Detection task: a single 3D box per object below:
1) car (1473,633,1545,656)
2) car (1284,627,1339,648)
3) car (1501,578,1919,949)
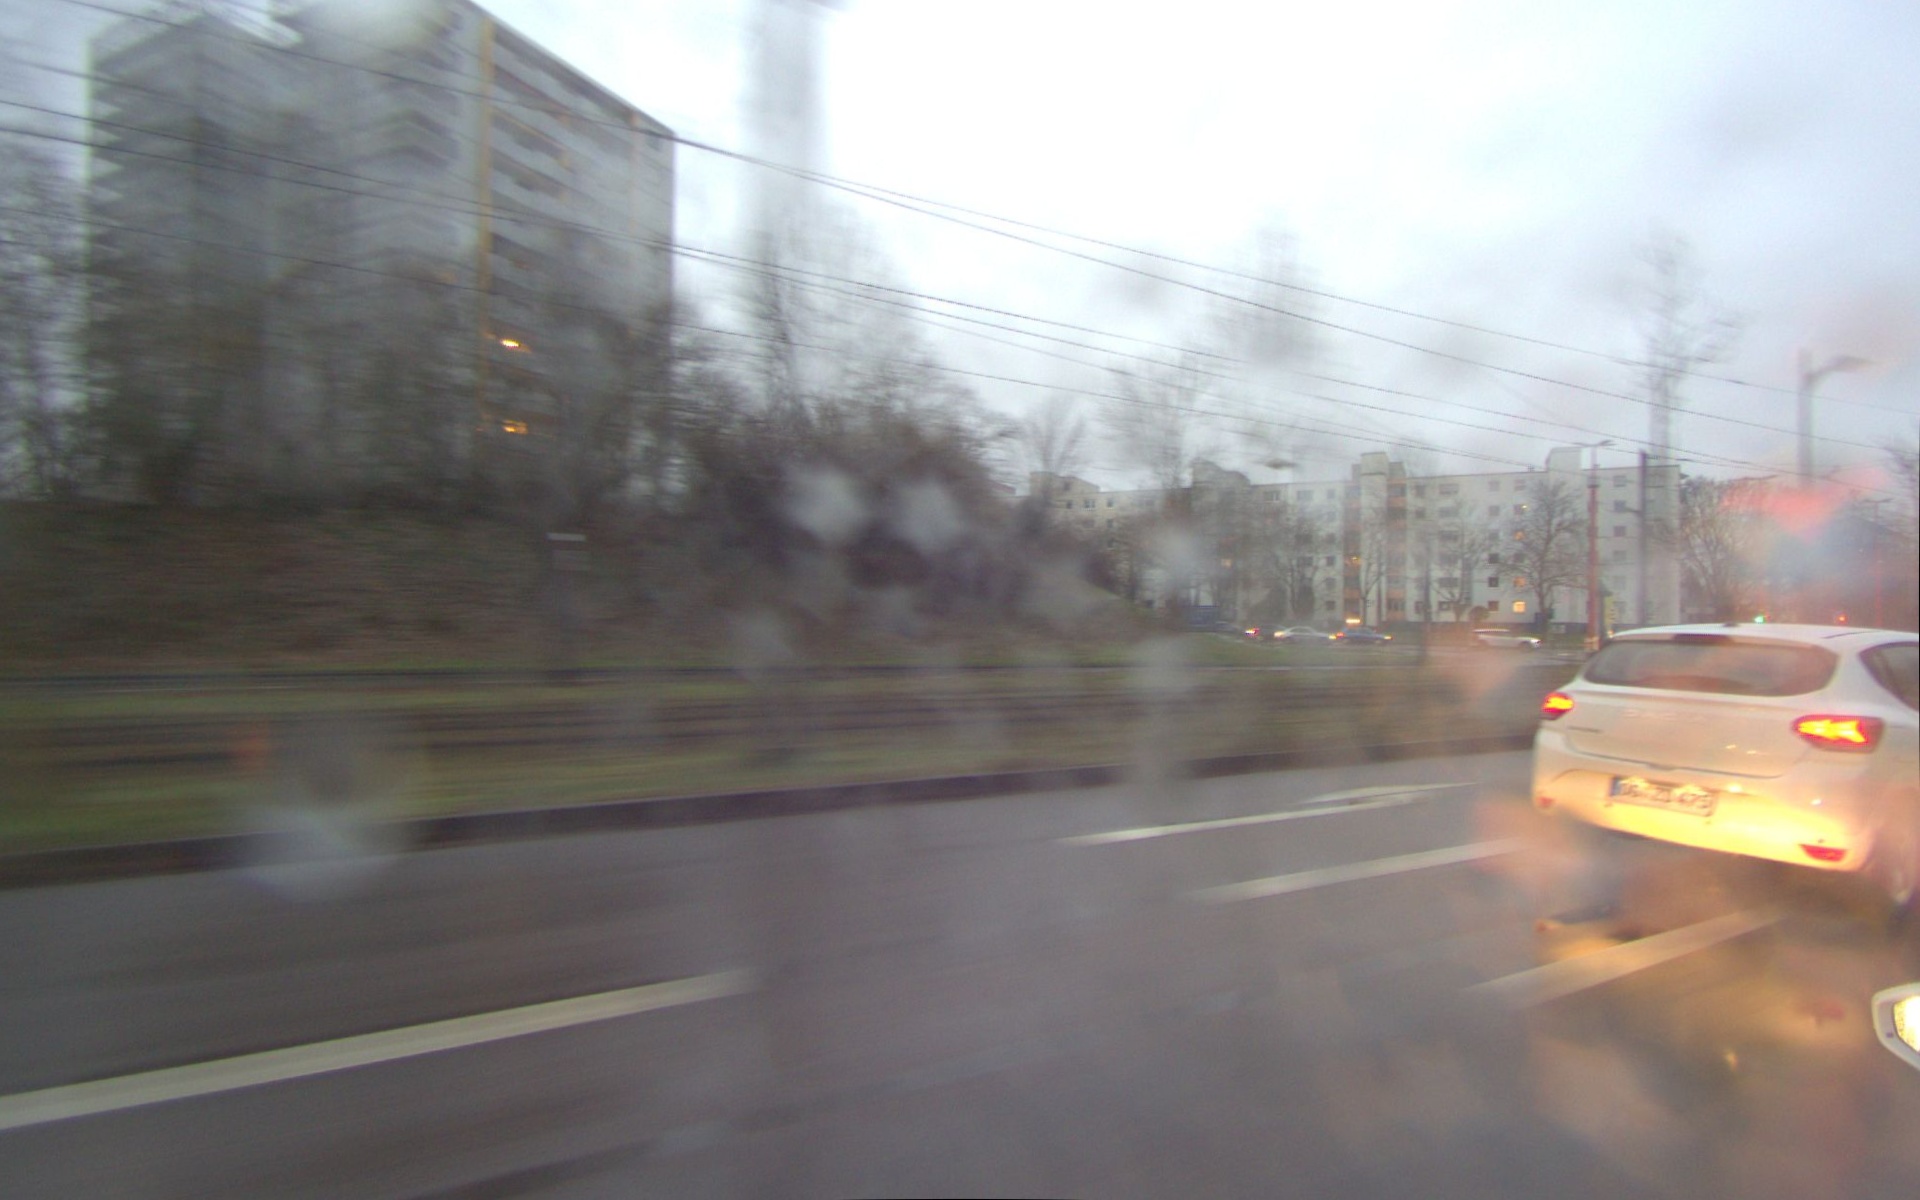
[{"bbox_3d":[38.685,3.104,70.818,4.364,1.565,1.847,0,-2,32],"label":"car"},{"bbox_3d":[28.242,2.989,80.689,3.931,1.565,1.709,0,-2,32],"label":"car"},{"bbox_3d":[5.419,0.794,6.340,4.100,1.669,1.705,2,-1,-31],"label":"car"}]
